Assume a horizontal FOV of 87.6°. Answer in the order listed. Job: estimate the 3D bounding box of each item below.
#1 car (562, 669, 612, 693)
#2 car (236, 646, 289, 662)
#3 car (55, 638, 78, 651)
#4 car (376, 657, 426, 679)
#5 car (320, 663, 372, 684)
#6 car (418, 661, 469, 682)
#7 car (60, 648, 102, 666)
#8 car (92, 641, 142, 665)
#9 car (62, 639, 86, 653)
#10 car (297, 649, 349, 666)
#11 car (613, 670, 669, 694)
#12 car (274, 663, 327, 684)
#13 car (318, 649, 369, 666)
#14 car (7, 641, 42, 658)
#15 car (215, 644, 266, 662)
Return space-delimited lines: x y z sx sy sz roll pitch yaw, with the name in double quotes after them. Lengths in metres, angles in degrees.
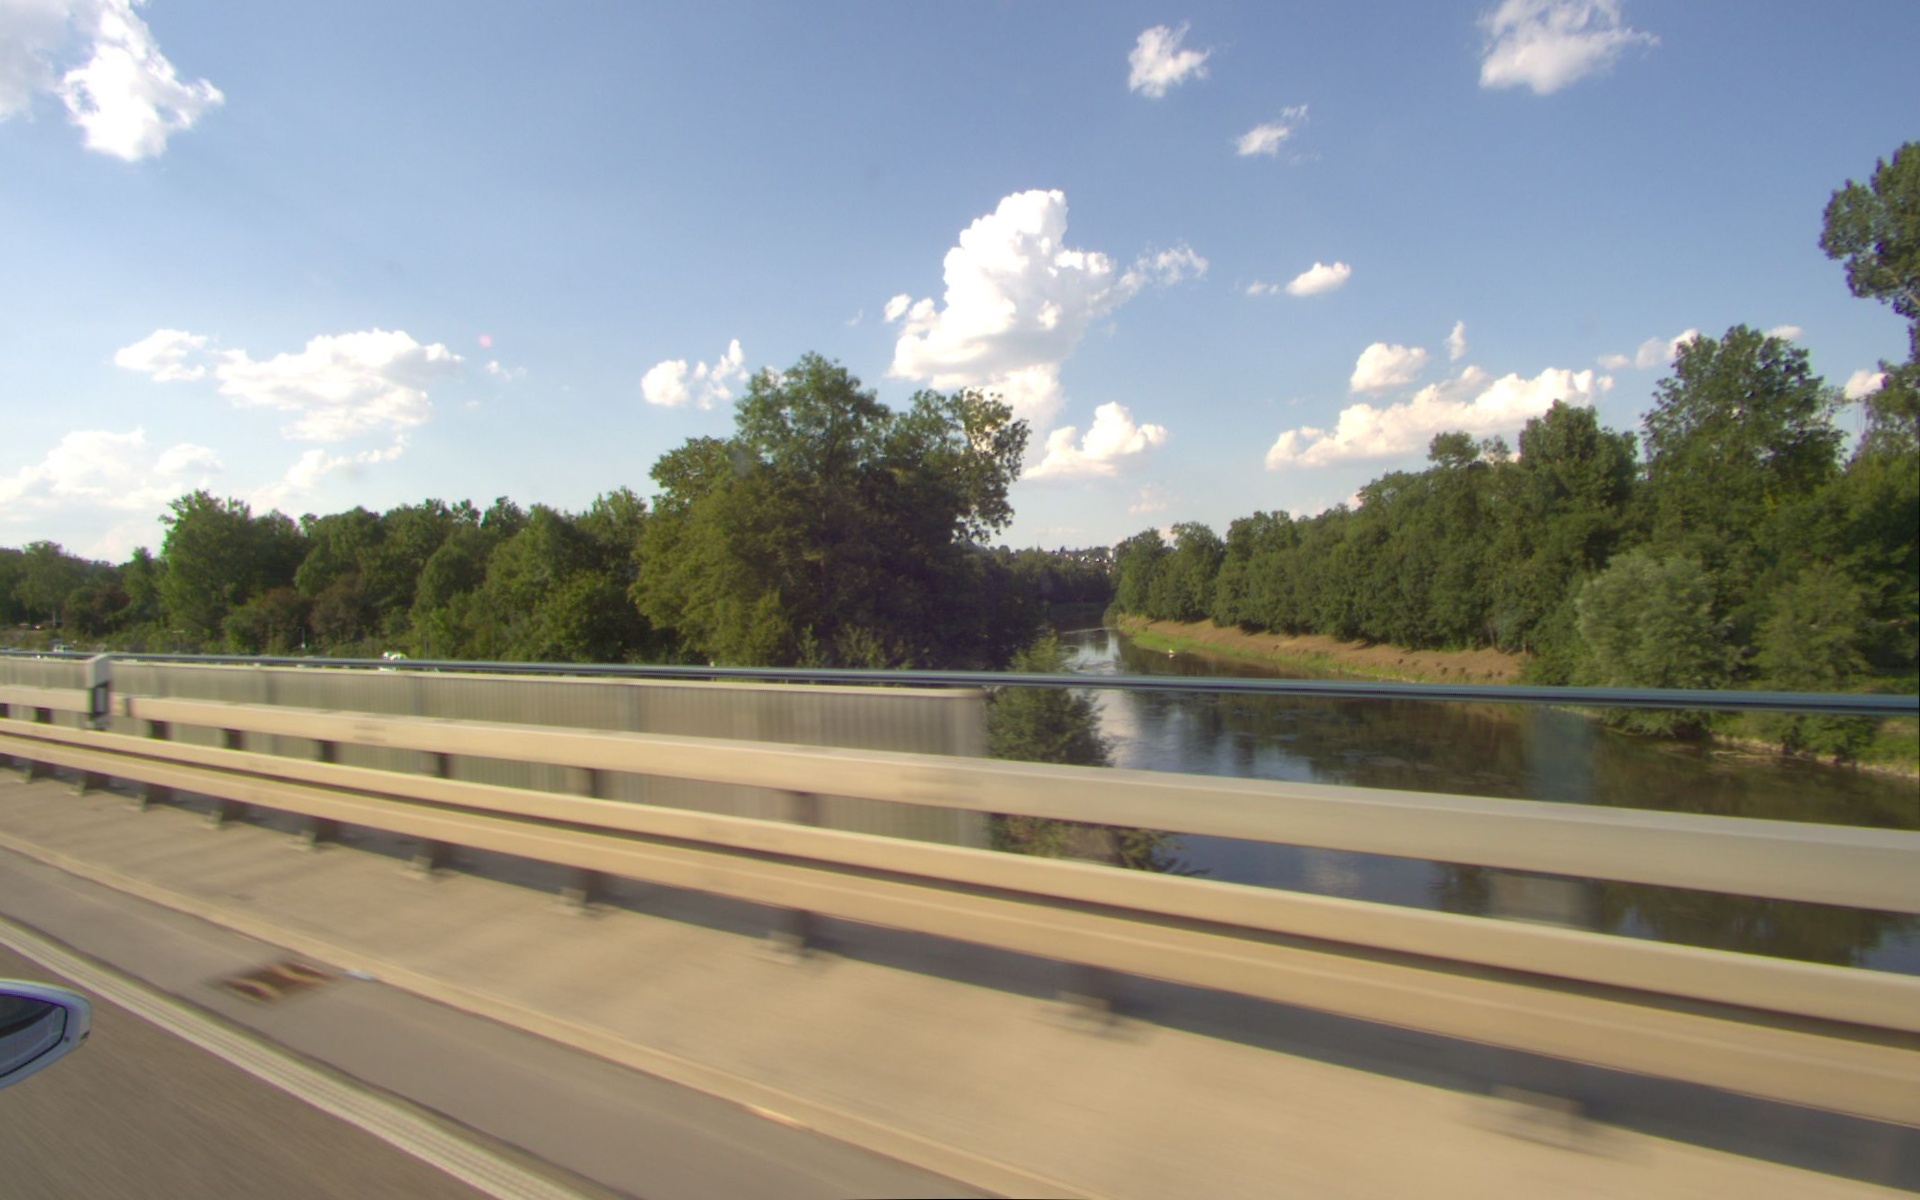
-27.263 5.883 73.093 3.780 1.516 1.649 -1 0 37 "car"
-73.303 5.642 105.319 1.742 1.517 4.235 1 -1 24 "car"
-115.368 5.738 129.306 3.901 1.418 1.691 0 2 42 "car"
-47.795 5.771 85.630 4.639 1.688 1.652 -1 0 31 "car"
-49.329 5.867 80.483 4.157 1.516 1.653 -1 0 28 "car"
-42.563 5.863 82.500 4.157 1.516 1.653 -1 0 28 "car"
-92.200 5.930 105.036 4.710 1.503 1.888 1 4 30 "car"
-84.993 5.317 100.962 5.297 2.046 2.114 1 4 30 "car"
-111.952 5.784 126.524 3.898 1.530 1.693 0 0 40 "car"
-65.337 5.848 102.716 1.704 1.475 4.407 1 0 20 "car"
-22.682 5.822 71.259 3.616 1.516 1.658 -1 0 -12 "car"
-55.041 6.075 83.544 4.187 1.420 1.816 1 2 26 "car"
-62.557 5.813 101.650 1.590 1.475 4.235 1 0 23 "car"
-110.959 5.848 118.783 4.714 1.581 1.886 1 4 33 "car"
-78.051 5.764 108.680 1.803 1.765 4.235 1 -1 24 "car"
